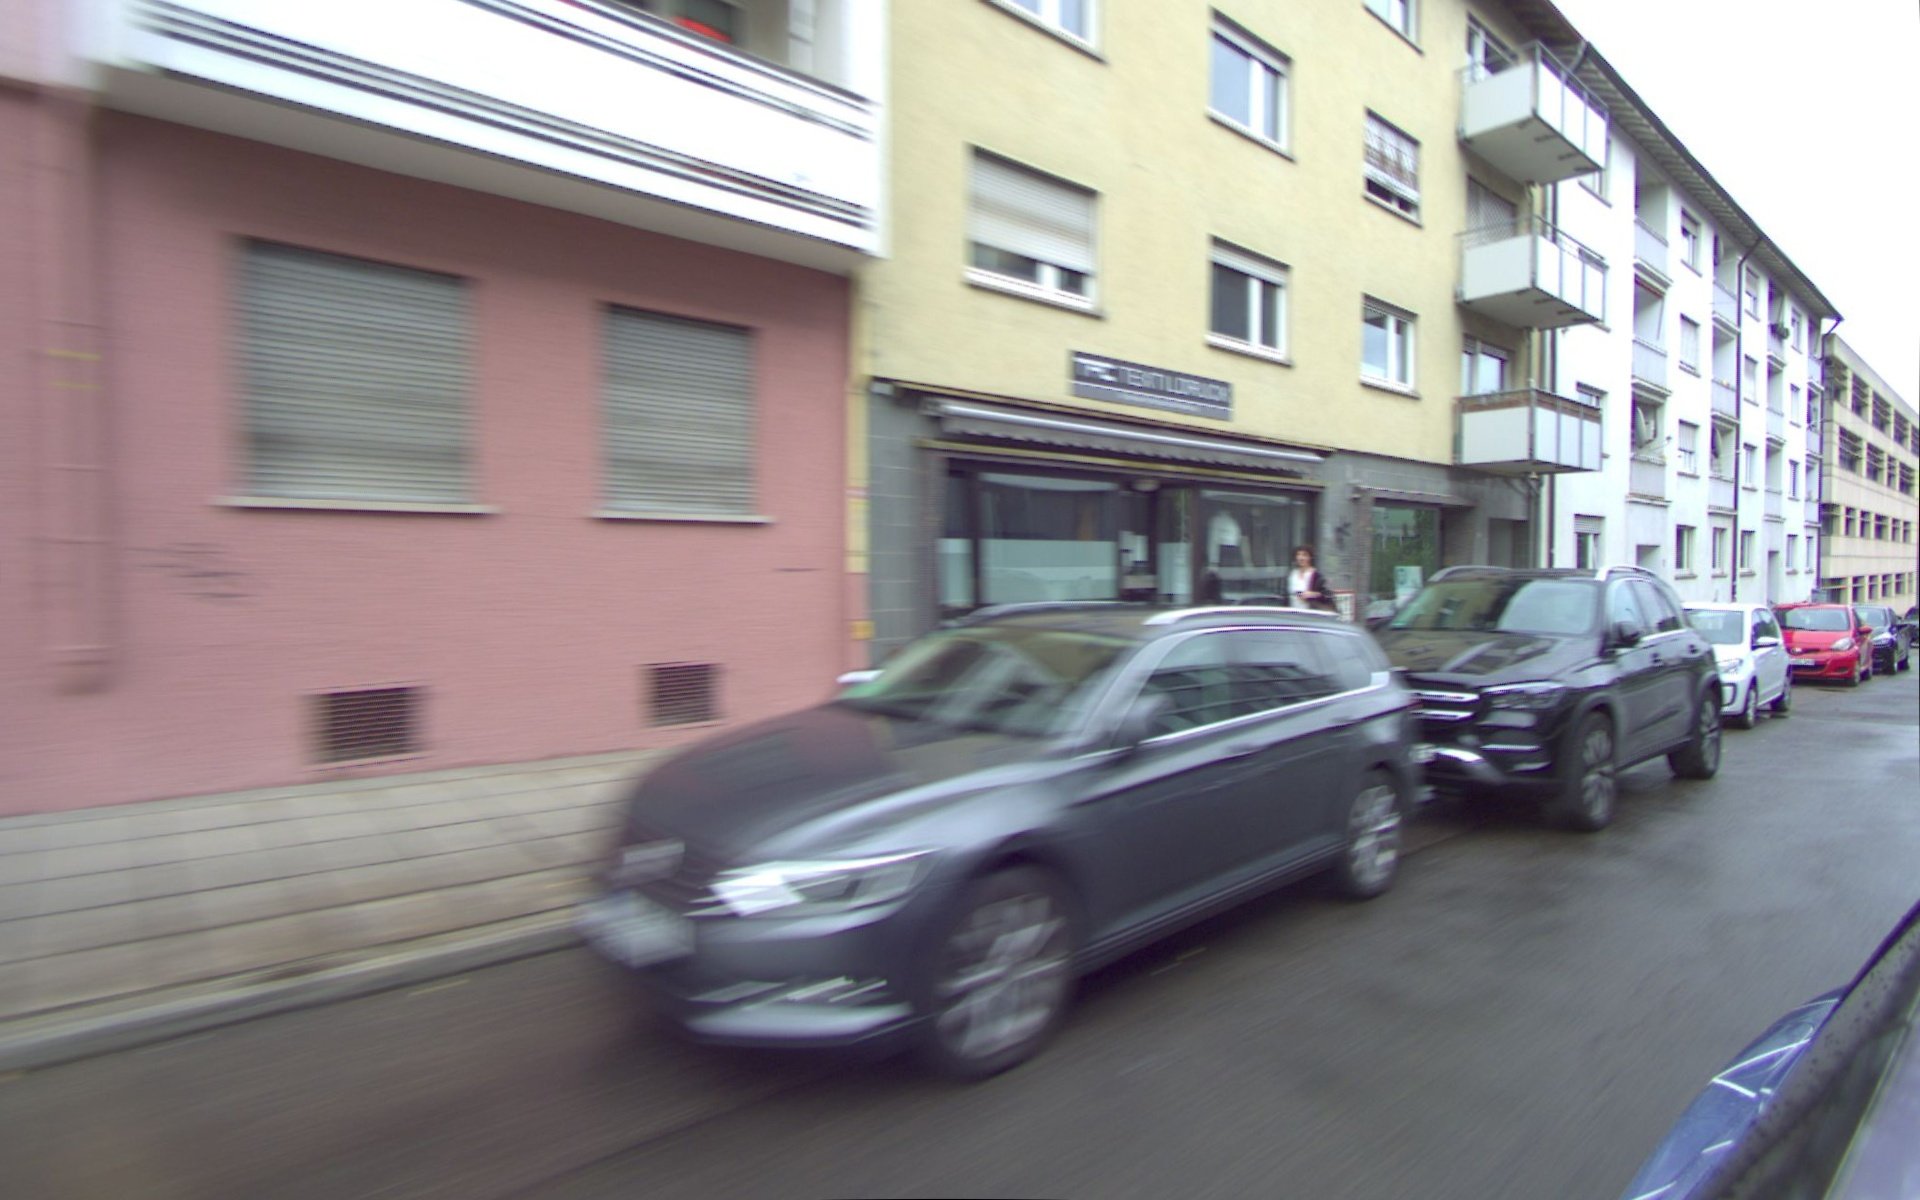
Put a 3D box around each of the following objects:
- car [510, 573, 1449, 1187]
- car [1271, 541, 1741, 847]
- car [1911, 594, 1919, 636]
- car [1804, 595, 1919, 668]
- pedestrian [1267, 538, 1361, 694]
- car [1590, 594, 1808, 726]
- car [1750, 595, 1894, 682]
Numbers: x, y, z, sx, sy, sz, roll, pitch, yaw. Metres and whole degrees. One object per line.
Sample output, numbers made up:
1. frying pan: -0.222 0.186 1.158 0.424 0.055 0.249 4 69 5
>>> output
1. car: 0.501 0.674 4.739 4.437 1.538 1.794 0 1 -44
2. car: 4.570 0.533 8.153 4.435 1.796 1.966 0 0 -42
3. car: 34.290 0.518 35.043 3.712 1.428 1.629 0 1 -41
4. car: 19.894 0.624 22.167 3.712 1.428 1.629 0 1 -41
5. pedestrian: 4.286 0.167 12.253 0.735 1.795 0.715 0 4 -42
6. car: 9.722 0.672 13.236 3.424 1.474 1.629 0 1 -42
7. car: 16.300 0.653 19.094 3.424 1.474 1.629 0 1 -42
